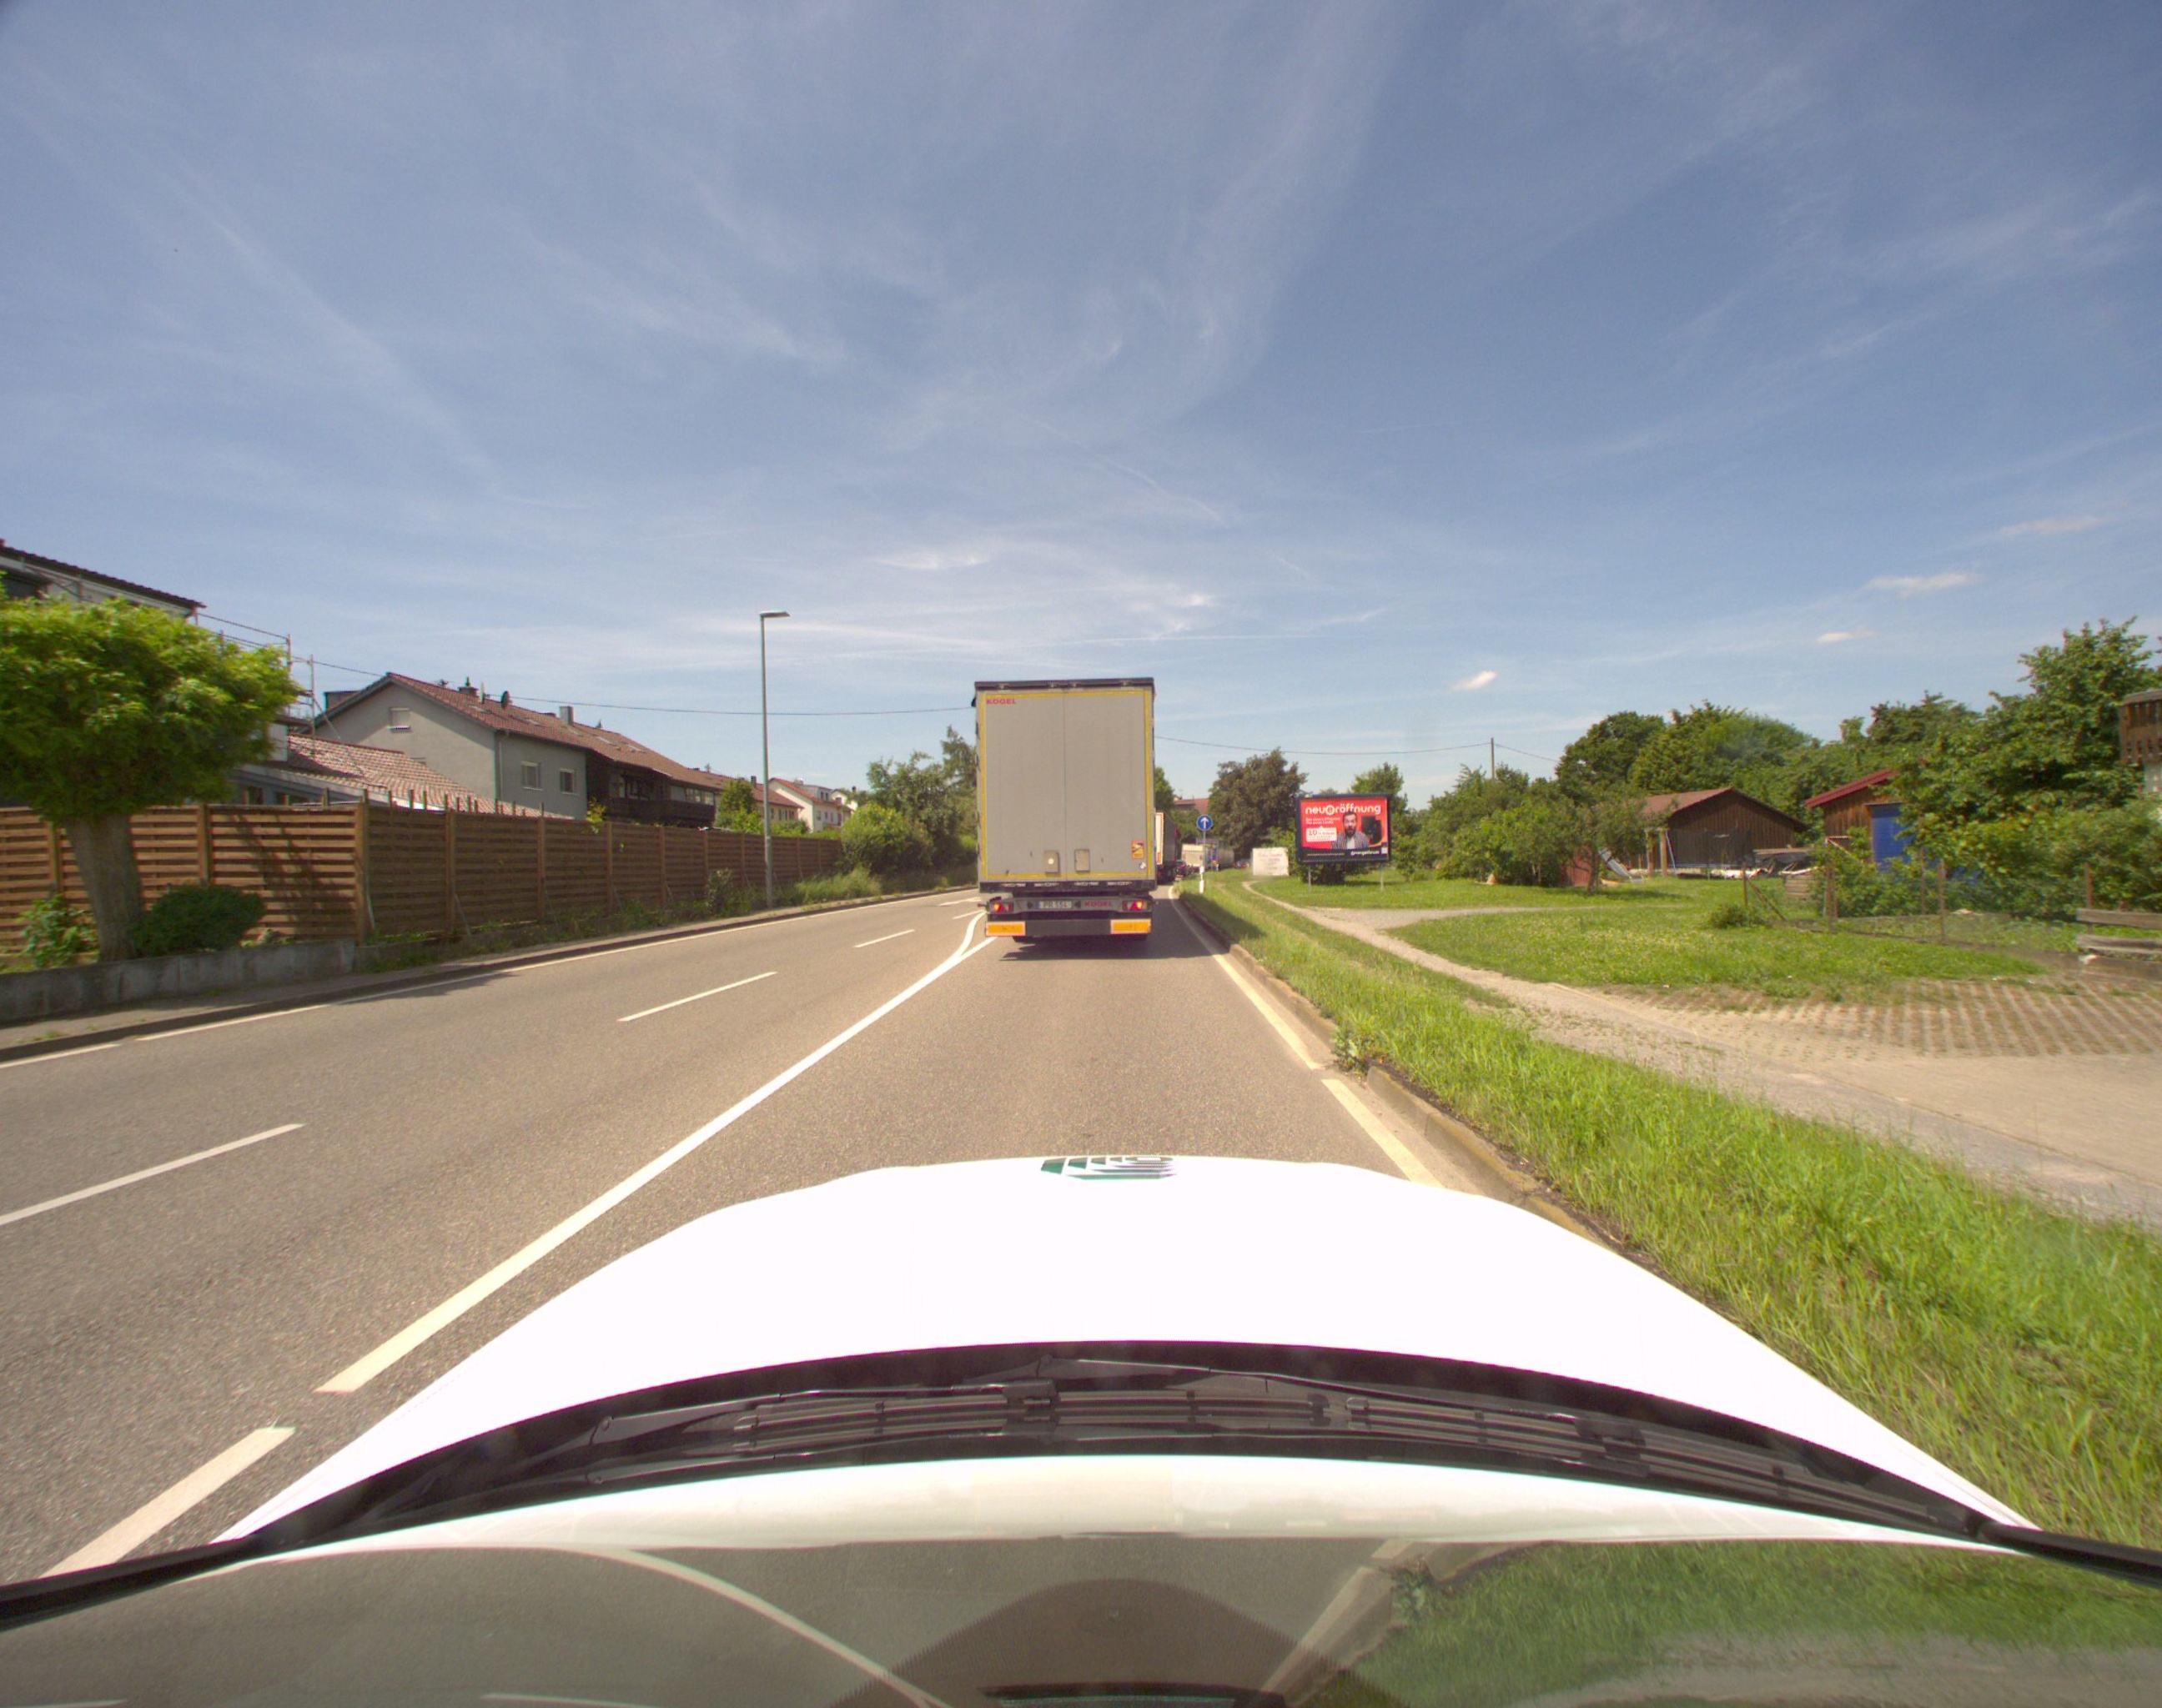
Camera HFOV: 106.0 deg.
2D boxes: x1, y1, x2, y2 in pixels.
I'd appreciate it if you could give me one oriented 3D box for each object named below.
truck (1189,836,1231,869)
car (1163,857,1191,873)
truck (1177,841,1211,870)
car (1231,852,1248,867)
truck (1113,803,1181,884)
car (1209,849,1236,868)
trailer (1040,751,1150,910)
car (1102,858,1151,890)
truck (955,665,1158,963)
[{"bbox_3d":[14.926,-0.219,93.585,3.406,3.604,9.395,-1,0,17],"label":"truck"},{"bbox_3d":[8.477,0.957,71.421,1.979,1.376,4.014,0,-1,13],"label":"car"},{"bbox_3d":[11.453,0.171,82.271,2.524,2.803,6.057,-1,-1,16],"label":"truck"},{"bbox_3d":[22.492,0.821,115.320,1.978,2.014,4.018,-1,-1,17],"label":"car"},{"bbox_3d":[4.497,-0.455,51.517,2.743,4.289,16.459,0,-1,10],"label":"truck"},{"bbox_3d":[17.771,0.529,101.818,2.512,2.277,6.410,-1,0,17],"label":"car"},{"bbox_3d":[0.583,-0.617,24.481,2.813,4.111,6.551,-1,0,4],"label":"trailer"},{"bbox_3d":[2.092,0.871,36.694,1.808,1.346,3.857,0,-1,9],"label":"car"},{"bbox_3d":[0.054,-0.573,17.079,2.809,4.127,11.456,0,0,4],"label":"truck"}]
